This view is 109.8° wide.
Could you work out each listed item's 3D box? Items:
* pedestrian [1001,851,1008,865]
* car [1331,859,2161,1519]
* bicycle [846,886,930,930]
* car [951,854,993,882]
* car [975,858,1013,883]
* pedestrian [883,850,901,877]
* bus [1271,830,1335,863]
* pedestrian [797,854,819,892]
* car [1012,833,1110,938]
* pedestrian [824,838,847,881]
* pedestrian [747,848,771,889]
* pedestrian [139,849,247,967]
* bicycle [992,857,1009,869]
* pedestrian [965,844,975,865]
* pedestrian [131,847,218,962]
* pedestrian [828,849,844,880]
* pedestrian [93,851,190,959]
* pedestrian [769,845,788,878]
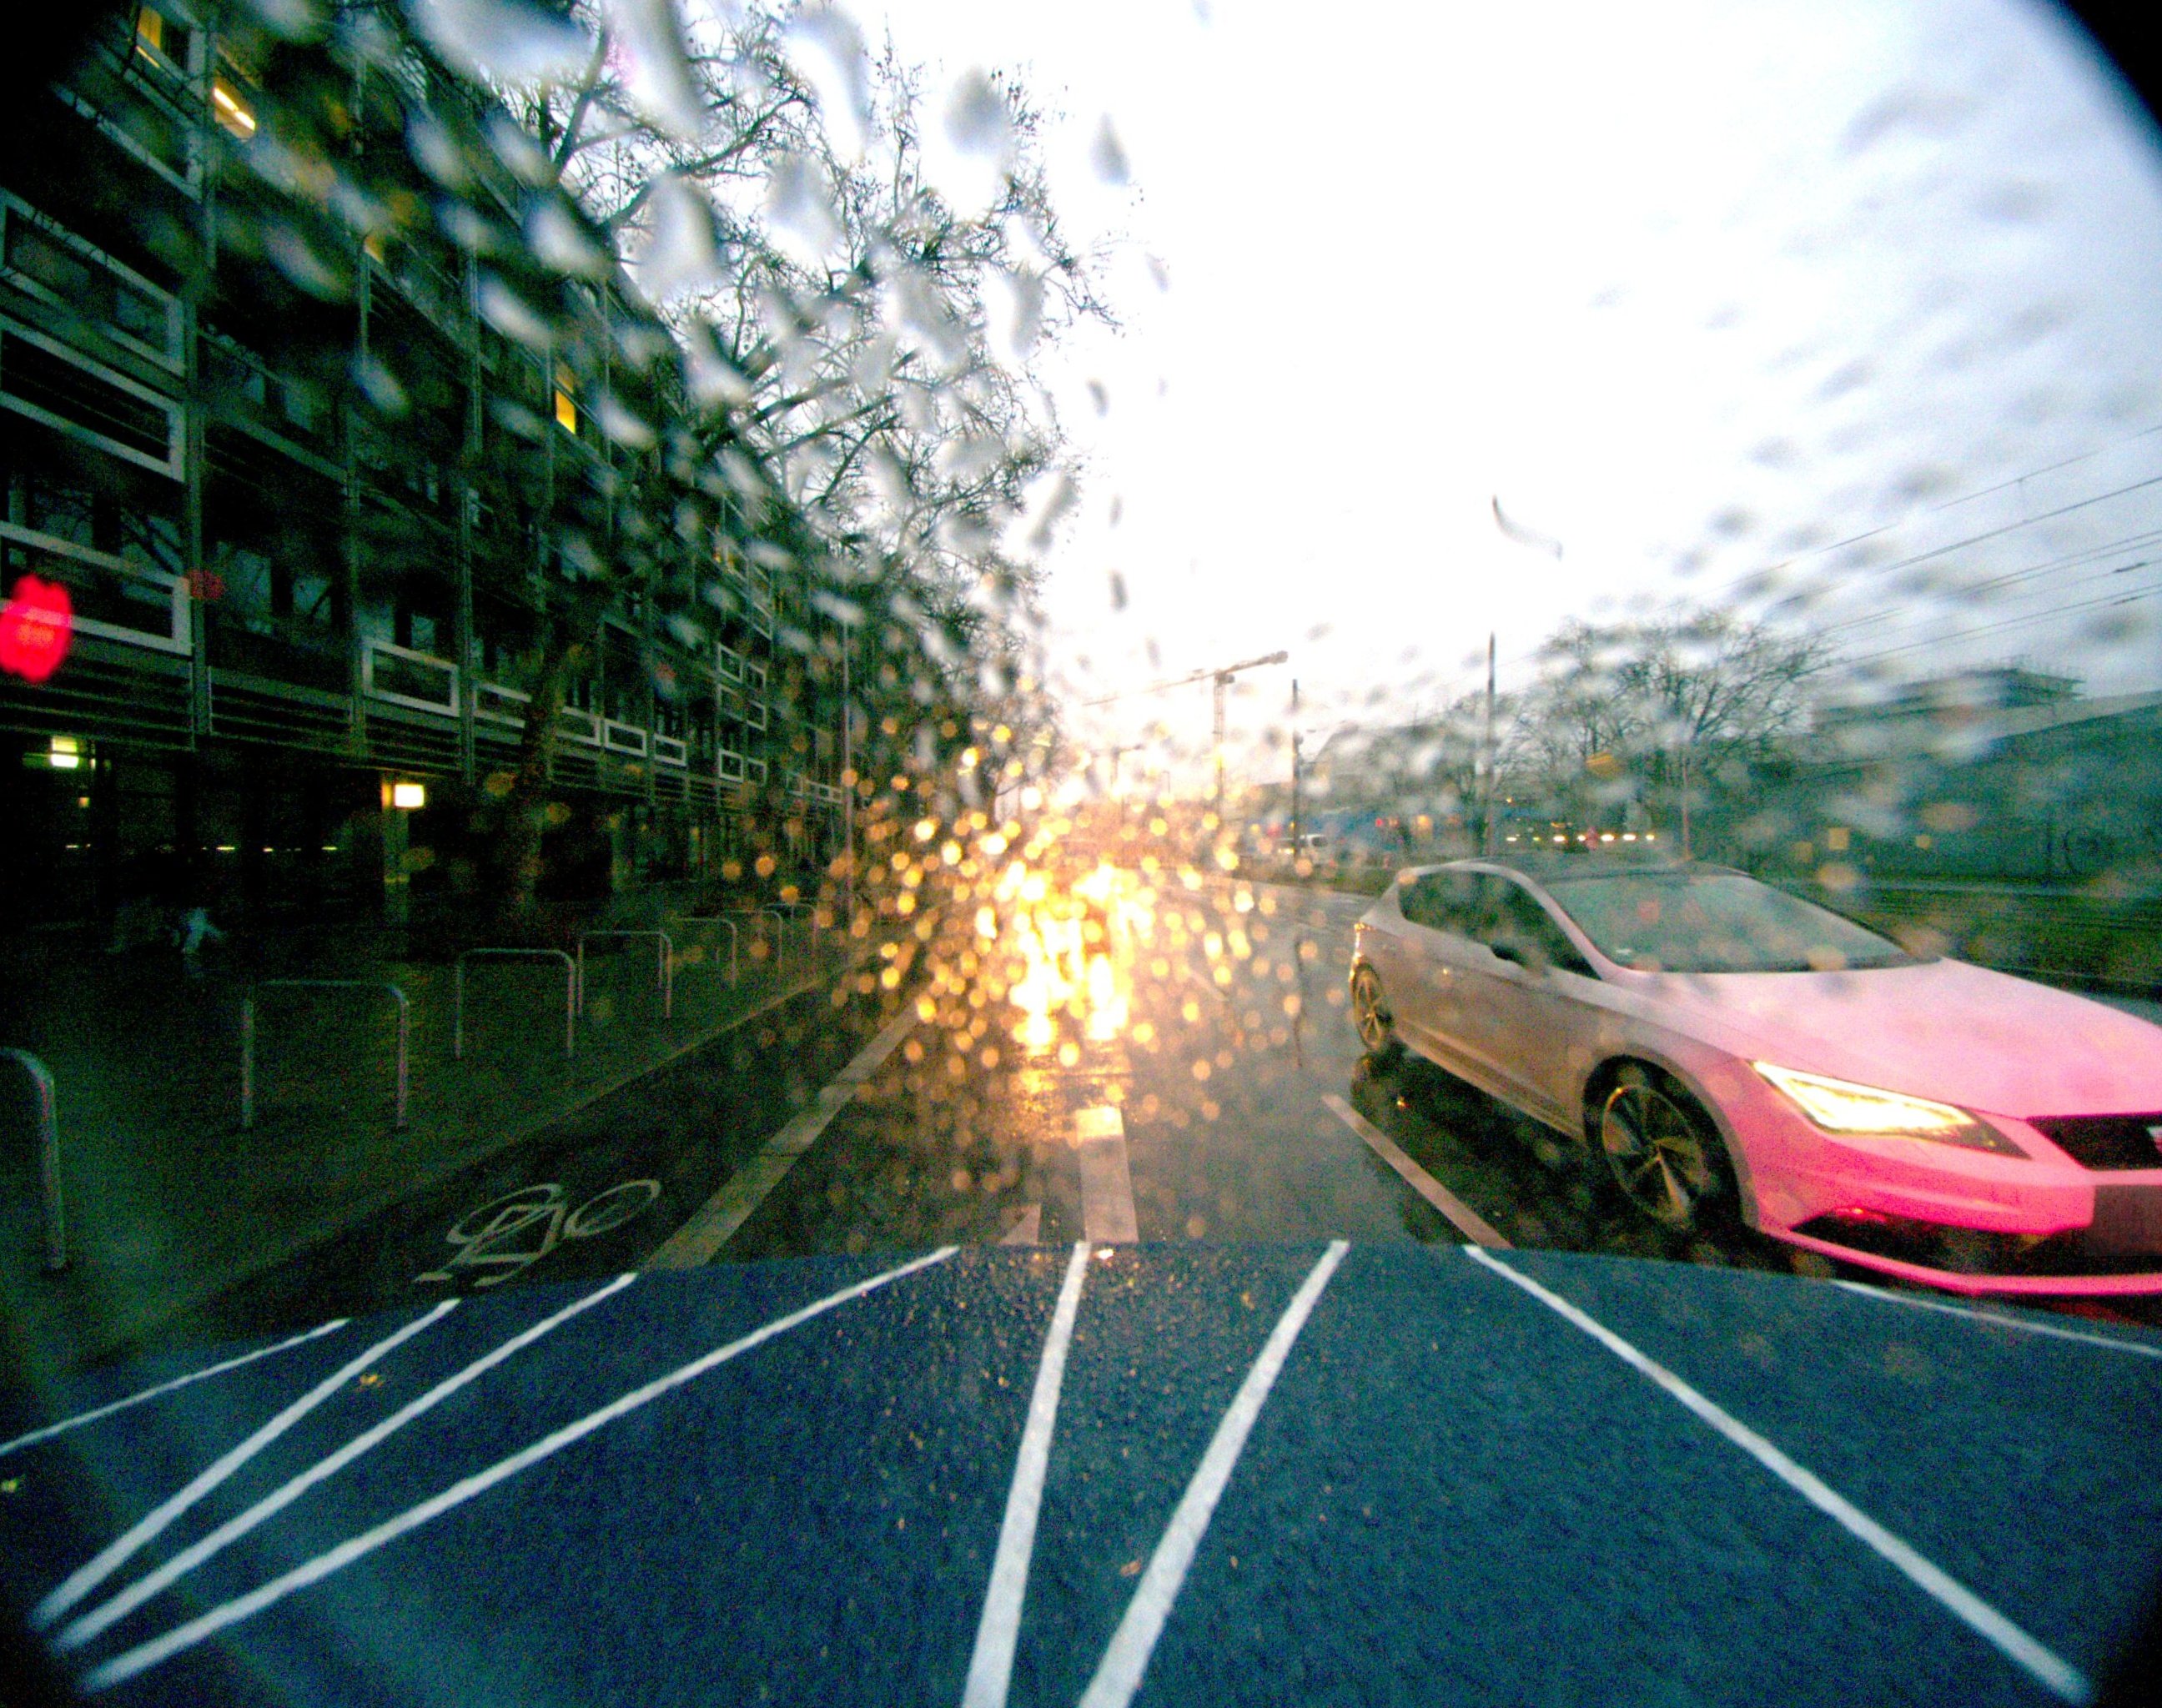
[{"bbox_3d":[-11.165,0.538,111.260,0.838,2.002,0.771,-2,2,-1],"label":"pedestrian"},{"bbox_3d":[2.949,0.818,3.913,1.778,1.466,4.128,-2,1,-2],"label":"car"},{"bbox_3d":[-4.457,1.248,17.601,1.792,0.968,0.617,1,1,-4],"label":"bicycle"},{"bbox_3d":[-6.178,0.787,43.370,1.608,1.424,3.930,2,1,2],"label":"car"},{"bbox_3d":[-5.854,1.057,51.406,1.998,1.477,3.999,-2,1,1],"label":"car"},{"bbox_3d":[-10.994,0.556,44.152,0.866,1.515,0.837,-1,1,-2],"label":"pedestrian"},{"bbox_3d":[26.049,-0.880,89.987,2.815,3.557,12.298,-1,0,-6],"label":"bus"},{"bbox_3d":[-10.995,0.755,30.641,0.649,1.535,0.615,-1,1,1],"label":"pedestrian"},{"bbox_3d":[-0.349,0.591,16.542,1.858,2.002,4.000,0,1,1],"label":"car"},{"bbox_3d":[-11.550,0.270,35.784,0.822,2.002,0.735,-1,1,-2],"label":"pedestrian"},{"bbox_3d":[-13.215,0.583,31.233,0.617,1.647,0.780,-1,1,1],"label":"pedestrian"},{"bbox_3d":[-13.006,0.763,11.156,0.501,1.658,0.873,0,1,1],"label":"pedestrian"},{"bbox_3d":[-7.217,0.790,68.290,1.523,1.030,0.469,-2,1,-7],"label":"bicycle"},{"bbox_3d":[-10.365,0.057,70.815,0.791,2.002,1.024,-1,1,0],"label":"pedestrian"},{"bbox_3d":[-13.465,0.727,11.302,0.379,1.658,0.713,0,1,1],"label":"pedestrian"},{"bbox_3d":[-13.110,0.562,40.684,0.641,1.645,0.842,-1,1,-5],"label":"pedestrian"},{"bbox_3d":[-13.978,0.730,11.325,0.484,1.555,0.745,-1,1,-1],"label":"pedestrian"},{"bbox_3d":[-12.503,0.304,31.451,0.493,1.361,0.503,0,1,26],"label":"pedestrian"}]
